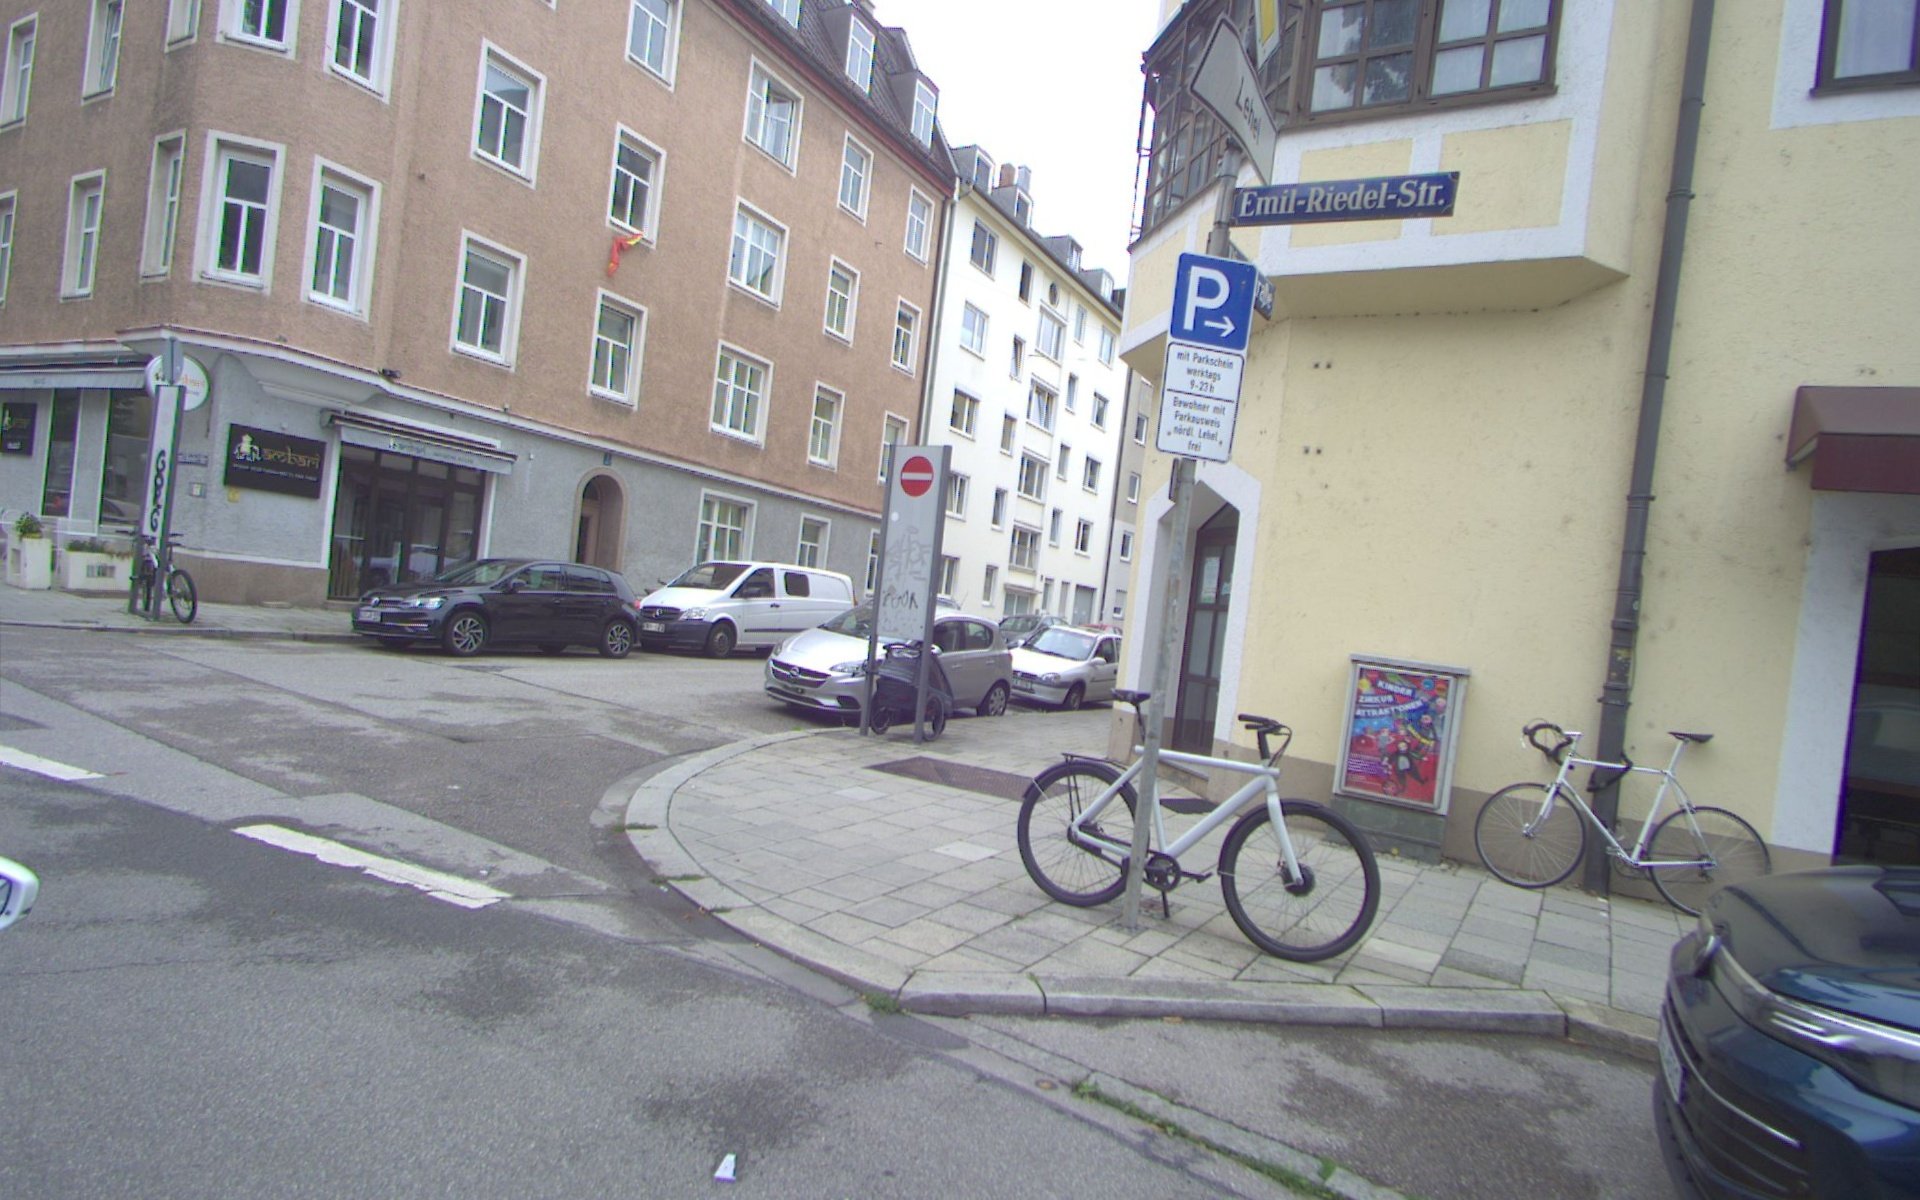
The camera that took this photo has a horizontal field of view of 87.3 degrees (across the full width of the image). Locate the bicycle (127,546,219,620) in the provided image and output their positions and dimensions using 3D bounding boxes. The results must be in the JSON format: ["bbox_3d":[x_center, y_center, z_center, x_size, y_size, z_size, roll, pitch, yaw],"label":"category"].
[{"bbox_3d":[-10.273,-0.227,13.122,1.304,0.815,0.457,7,0,32],"label":"bicycle"}]

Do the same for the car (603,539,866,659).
[{"bbox_3d":[-4.246,0.085,19.944,2.065,1.876,5.136,5,-2,30],"label":"car"}]

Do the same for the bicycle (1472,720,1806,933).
[{"bbox_3d":[4.279,1.399,6.464,1.656,0.989,0.271,7,0,30],"label":"bicycle"}]

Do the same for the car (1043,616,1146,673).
[{"bbox_3d":[4.866,1.620,35.873,2.065,1.707,4.355,5,-2,30],"label":"car"}]

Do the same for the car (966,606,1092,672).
[{"bbox_3d":[2.206,1.240,31.014,2.065,1.707,4.355,5,-2,30],"label":"car"}]

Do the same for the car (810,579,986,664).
[{"bbox_3d":[-1.410,0.596,24.947,2.065,1.707,4.616,5,-2,30],"label":"car"}]

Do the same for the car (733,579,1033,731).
[{"bbox_3d":[-0.826,0.739,13.158,1.717,1.475,4.042,9,1,32],"label":"car"}]

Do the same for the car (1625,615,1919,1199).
[{"bbox_3d":[3.914,1.138,1.673,4.435,1.701,1.820,7,1,31],"label":"car"}]

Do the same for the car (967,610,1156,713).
[{"bbox_3d":[1.921,1.115,17.928,1.717,1.394,3.812,9,1,32],"label":"car"}]

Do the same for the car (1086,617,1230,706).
[{"bbox_3d":[4.465,1.373,22.233,1.717,1.564,3.812,9,1,32],"label":"car"}]

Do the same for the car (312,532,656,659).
[{"bbox_3d":[-6.797,0.022,14.849,1.893,1.446,4.177,5,-2,30],"label":"car"}]

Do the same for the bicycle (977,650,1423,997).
[{"bbox_3d":[1.119,0.990,4.978,1.963,1.222,0.514,7,0,32],"label":"bicycle"}]
